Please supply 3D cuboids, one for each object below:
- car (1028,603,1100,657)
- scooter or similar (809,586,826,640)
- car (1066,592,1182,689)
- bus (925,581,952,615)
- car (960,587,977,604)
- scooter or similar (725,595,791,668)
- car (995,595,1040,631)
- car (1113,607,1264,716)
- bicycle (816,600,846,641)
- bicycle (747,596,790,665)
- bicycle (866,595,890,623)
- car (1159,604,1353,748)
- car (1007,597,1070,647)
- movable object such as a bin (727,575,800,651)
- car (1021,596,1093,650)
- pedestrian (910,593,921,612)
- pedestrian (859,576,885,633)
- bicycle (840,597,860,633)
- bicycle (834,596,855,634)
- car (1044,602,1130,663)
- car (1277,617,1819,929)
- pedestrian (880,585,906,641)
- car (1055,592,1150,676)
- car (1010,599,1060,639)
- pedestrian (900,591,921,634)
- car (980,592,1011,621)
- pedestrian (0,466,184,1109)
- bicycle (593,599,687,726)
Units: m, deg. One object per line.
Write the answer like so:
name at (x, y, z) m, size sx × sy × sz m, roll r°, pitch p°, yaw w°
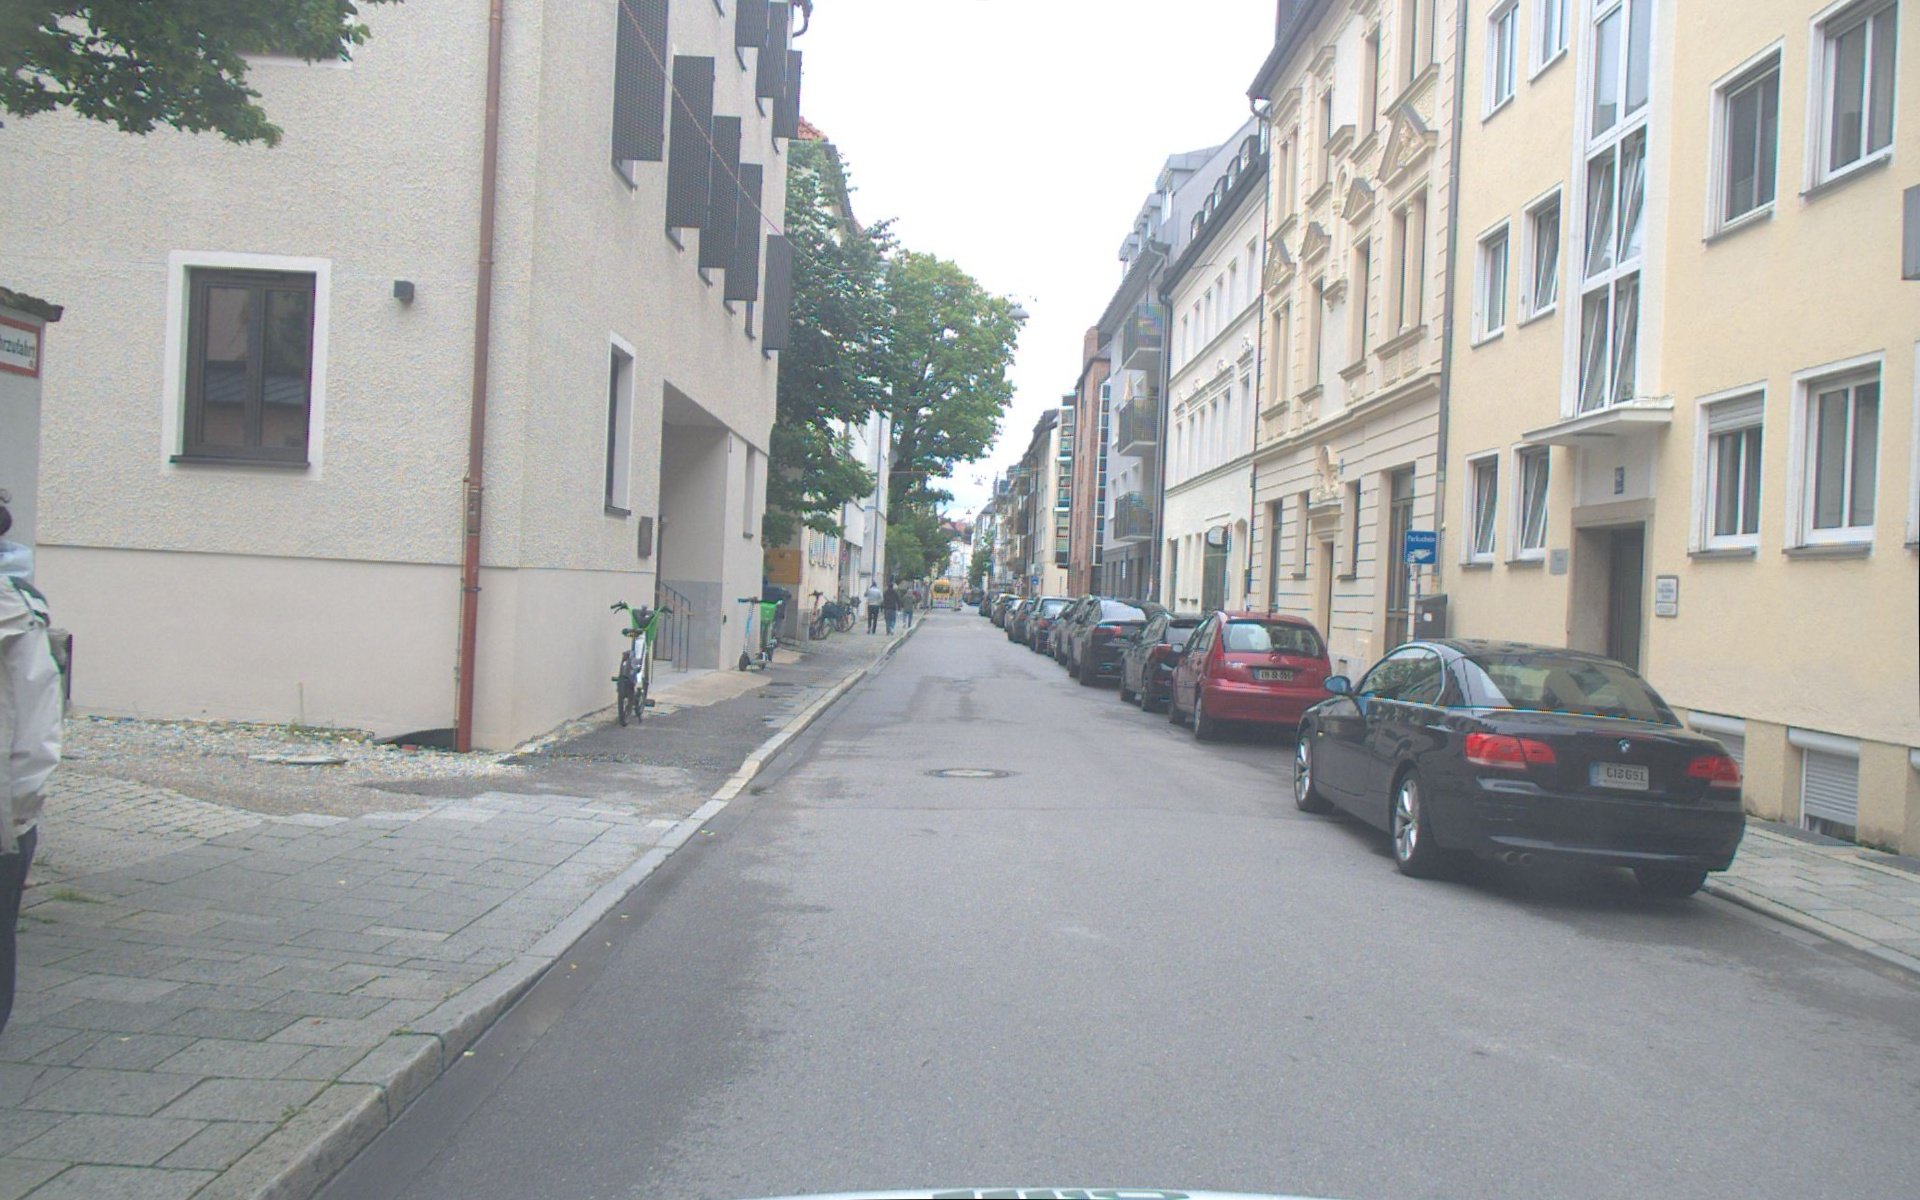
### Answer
car at (2.933, 0.817, 47.265) m, size 1.771 × 1.387 × 3.945 m, roll 2°, pitch 0°, yaw 0°
scooter or similar at (-3.741, 0.342, 43.545) m, size 0.311 × 1.400 × 1.239 m, roll 2°, pitch 0°, yaw -1°
car at (3.087, 0.711, 31.951) m, size 1.667 × 1.635 × 4.684 m, roll 3°, pitch 0°, yaw -1°
bus at (-2.123, -0.169, 164.045) m, size 2.540 × 3.156 × 6.305 m, roll 2°, pitch 0°, yaw 0°
car at (0.989, -0.521, 196.459) m, size 1.766 × 1.741 × 3.825 m, roll 6°, pitch 0°, yaw -2°
scooter or similar at (-3.428, 0.544, 28.148) m, size 0.540 × 1.163 × 1.359 m, roll 5°, pitch 0°, yaw 16°
car at (2.817, 0.618, 81.933) m, size 1.848 × 1.582 × 4.389 m, roll 3°, pitch 0°, yaw -2°
car at (3.417, 0.878, 25.398) m, size 1.642 × 1.417 × 4.065 m, roll 3°, pitch 0°, yaw -1°
bicycle at (-3.537, 0.548, 45.278) m, size 0.690 × 1.001 × 1.821 m, roll 7°, pitch 0°, yaw -5°
bicycle at (-3.489, 0.537, 30.212) m, size 0.533 × 1.181 × 1.881 m, roll 4°, pitch 0°, yaw -2°
bicycle at (-3.872, 0.418, 78.097) m, size 0.631 × 1.239 × 1.656 m, roll 2°, pitch 0°, yaw -19°
car at (3.591, 0.872, 20.696) m, size 1.642 × 1.518 × 3.853 m, roll 3°, pitch 0°, yaw -1°
car at (2.679, 0.720, 57.067) m, size 1.803 × 1.555 × 4.291 m, roll 3°, pitch 0°, yaw -1°
movable object such as a bin at (-4.219, 0.261, 35.683) m, size 1.150 × 1.466 × 1.249 m, roll 8°, pitch 1°, yaw 5°
car at (3.029, 0.684, 52.186) m, size 1.838 × 1.598 × 4.314 m, roll 1°, pitch 0°, yaw -2°
pedestrian at (-3.473, 0.193, 129.398) m, size 0.740 × 1.517 × 0.831 m, roll 2°, pitch -1°, yaw 0°
pedestrian at (-2.943, 0.162, 55.348) m, size 0.704 × 1.827 × 0.917 m, roll 4°, pitch -1°, yaw 0°
bicycle at (-3.672, 0.495, 55.135) m, size 0.551 × 1.179 × 1.718 m, roll 3°, pitch 0°, yaw -6°
bicycle at (-3.736, 0.484, 53.419) m, size 0.449 × 1.179 × 1.605 m, roll 5°, pitch 0°, yaw 1°
car at (3.230, 0.790, 42.731) m, size 1.763 × 1.410 × 4.348 m, roll 2°, pitch 0°, yaw -1°
car at (3.513, 0.931, 10.906) m, size 1.789 × 1.357 × 4.508 m, roll 7°, pitch 0°, yaw -1°
pedestrian at (-2.245, 0.438, 55.663) m, size 0.704 × 1.796 × 0.838 m, roll 4°, pitch -1°, yaw 0°
car at (3.182, 0.717, 37.588) m, size 1.642 × 1.690 × 4.512 m, roll 3°, pitch 0°, yaw -1°
car at (3.033, 0.745, 67.488) m, size 1.710 × 1.487 × 4.149 m, roll 3°, pitch 0°, yaw -1°
pedestrian at (-2.055, 0.520, 68.833) m, size 0.738 × 1.687 × 0.906 m, roll 5°, pitch -1°, yaw 0°
car at (2.522, 0.437, 118.415) m, size 1.766 × 1.851 × 3.998 m, roll 6°, pitch 0°, yaw -3°
pedestrian at (-2.640, 0.454, 4.507) m, size 0.610 × 1.606 × 0.714 m, roll 4°, pitch -1°, yaw -1°
bicycle at (-3.180, 0.592, 16.574) m, size 0.527 × 1.158 × 1.916 m, roll 4°, pitch 0°, yaw -1°
